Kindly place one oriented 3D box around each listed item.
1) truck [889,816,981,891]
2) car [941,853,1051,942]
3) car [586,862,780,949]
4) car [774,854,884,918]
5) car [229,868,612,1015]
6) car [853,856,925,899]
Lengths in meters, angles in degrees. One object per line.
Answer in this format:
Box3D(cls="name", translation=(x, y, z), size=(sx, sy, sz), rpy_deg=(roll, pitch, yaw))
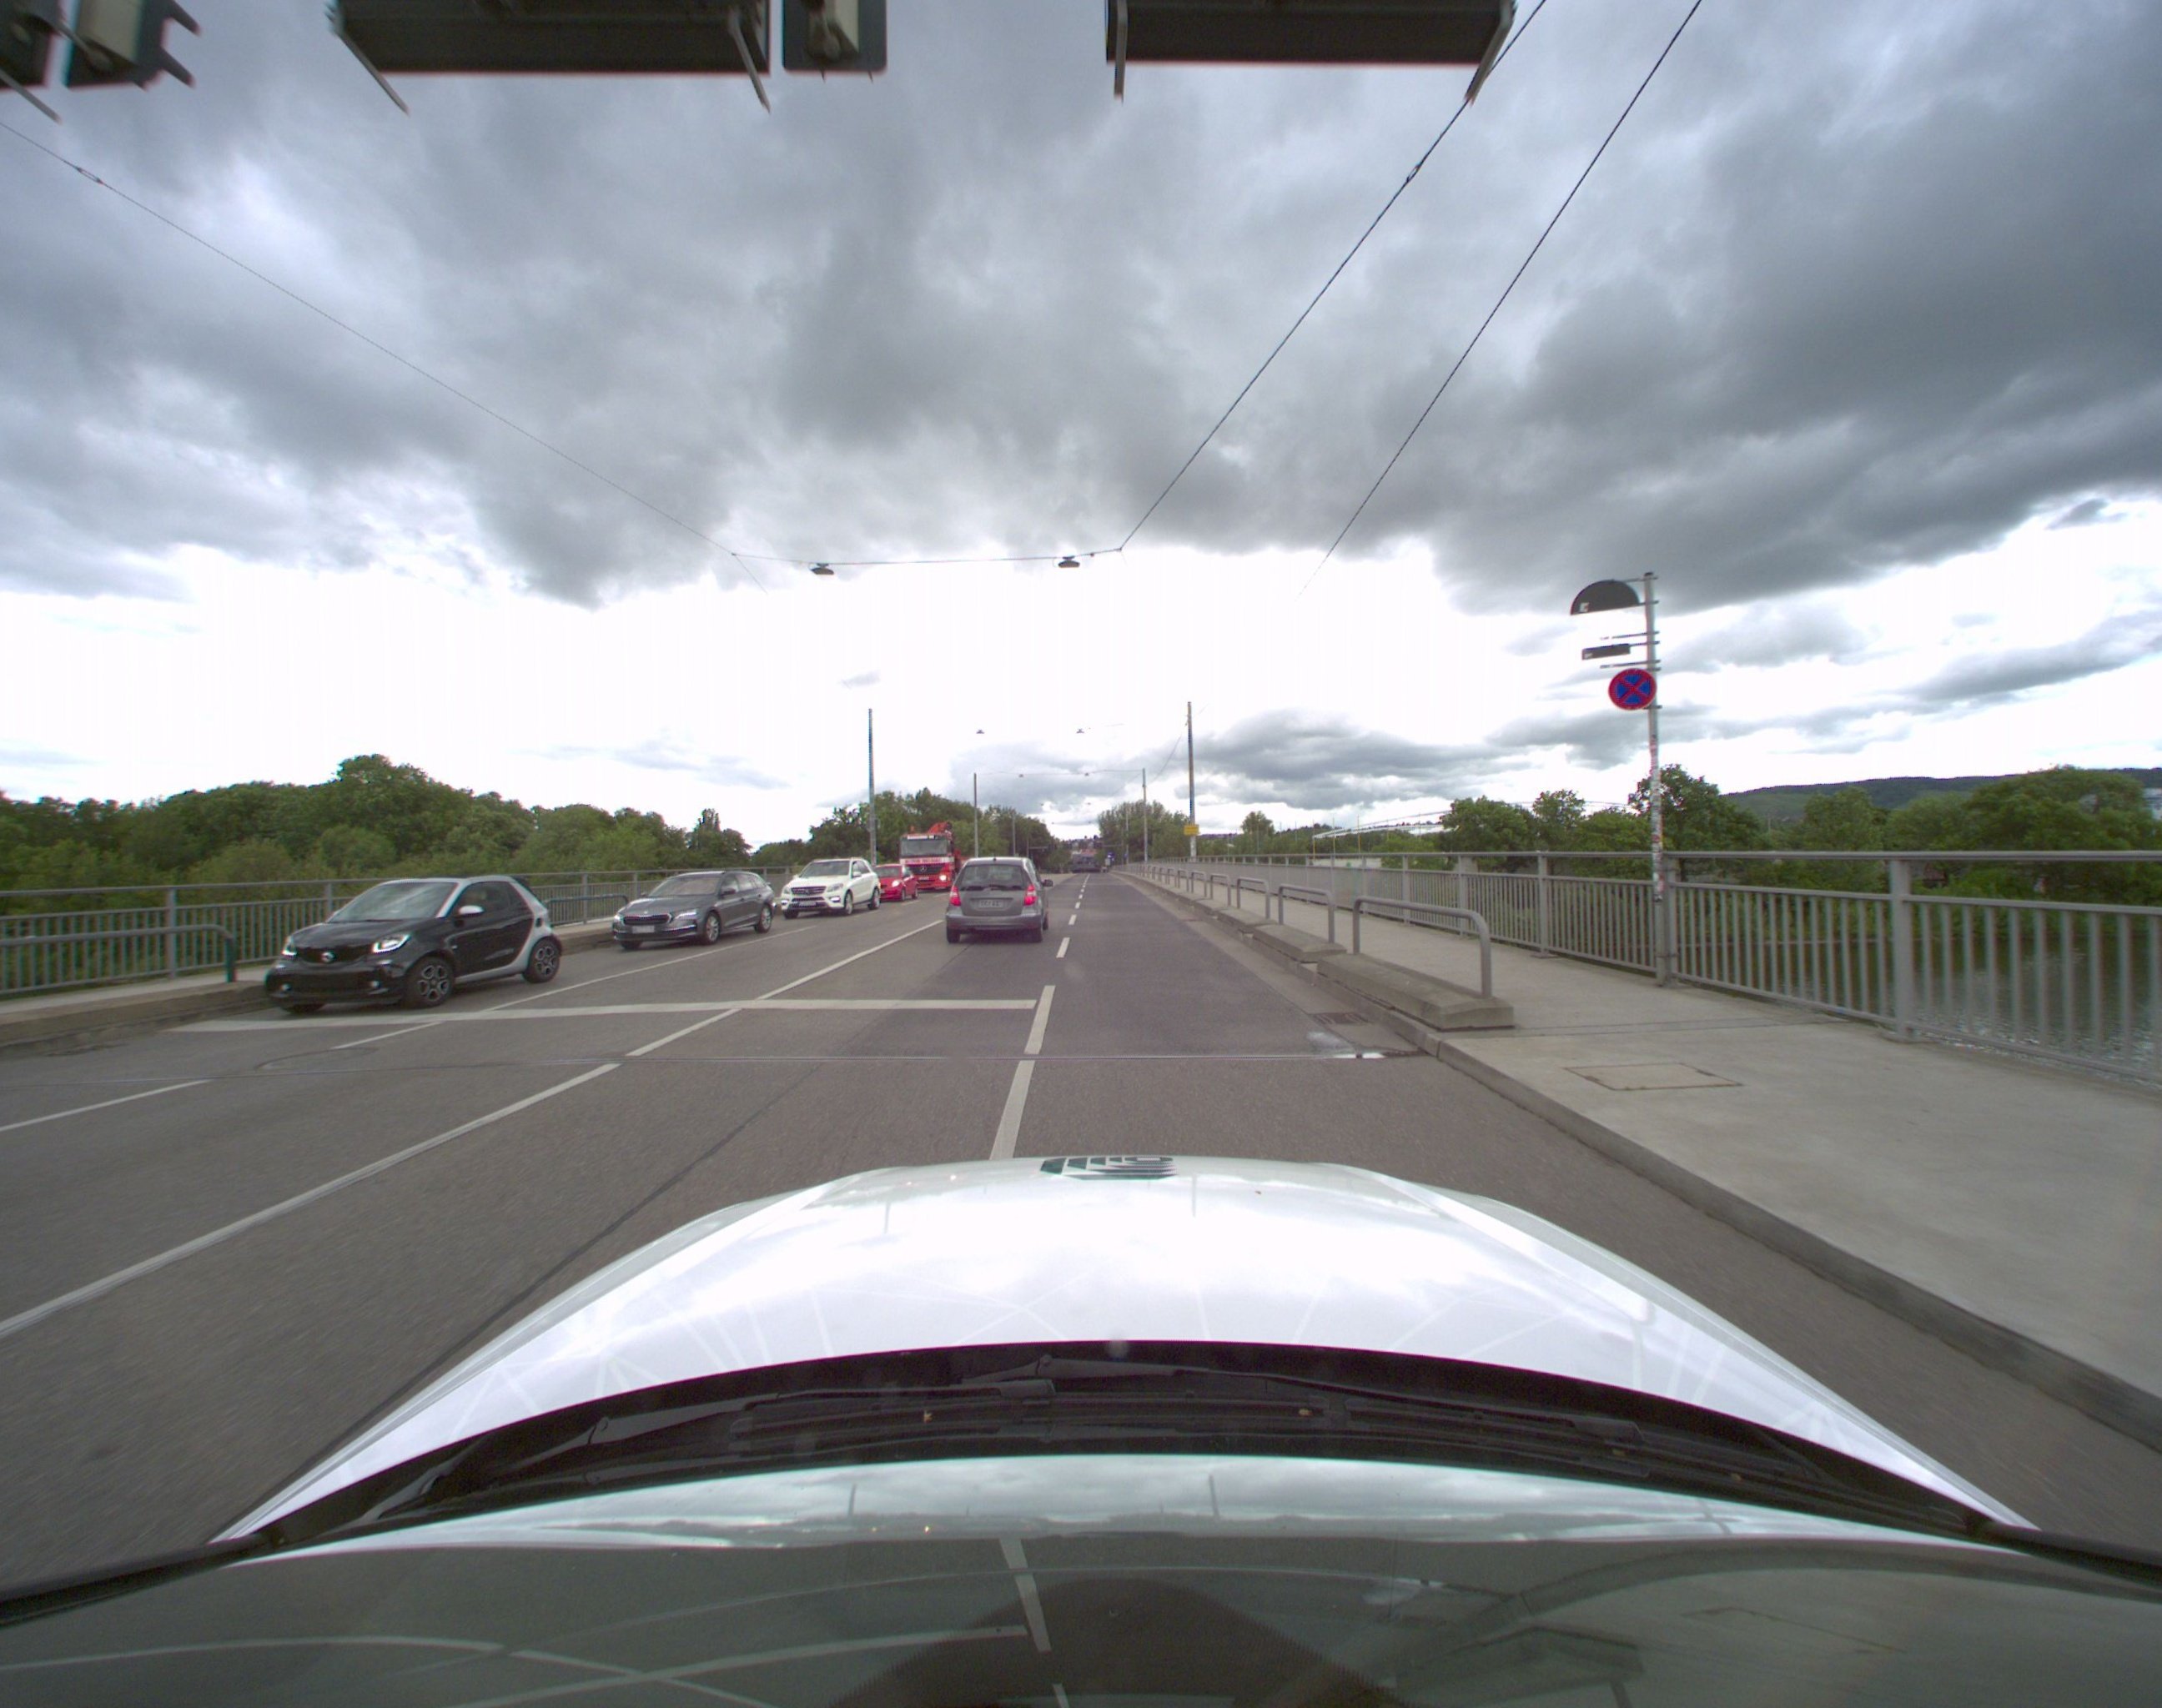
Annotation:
Box3D(cls="truck", translation=(-7.772, -0.004, 44.912), size=(2.995, 3.566, 9.982), rpy_deg=(-2, 0, 1))
Box3D(cls="car", translation=(-1.562, 0.773, 16.275), size=(1.739, 1.550, 3.871), rpy_deg=(-1, 0, 0))
Box3D(cls="car", translation=(-8.216, 0.980, 17.360), size=(1.829, 1.504, 4.517), rpy_deg=(-2, 0, 1))
Box3D(cls="car", translation=(-7.801, 0.925, 25.718), size=(1.873, 1.761, 4.802), rpy_deg=(-2, 0, 1))
Box3D(cls="car", translation=(-8.429, 1.005, 10.946), size=(1.828, 1.504, 3.874), rpy_deg=(-2, 0, 3))
Box3D(cls="car", translation=(-7.783, 0.921, 33.398), size=(1.873, 1.603, 4.015), rpy_deg=(-2, 0, 0))
